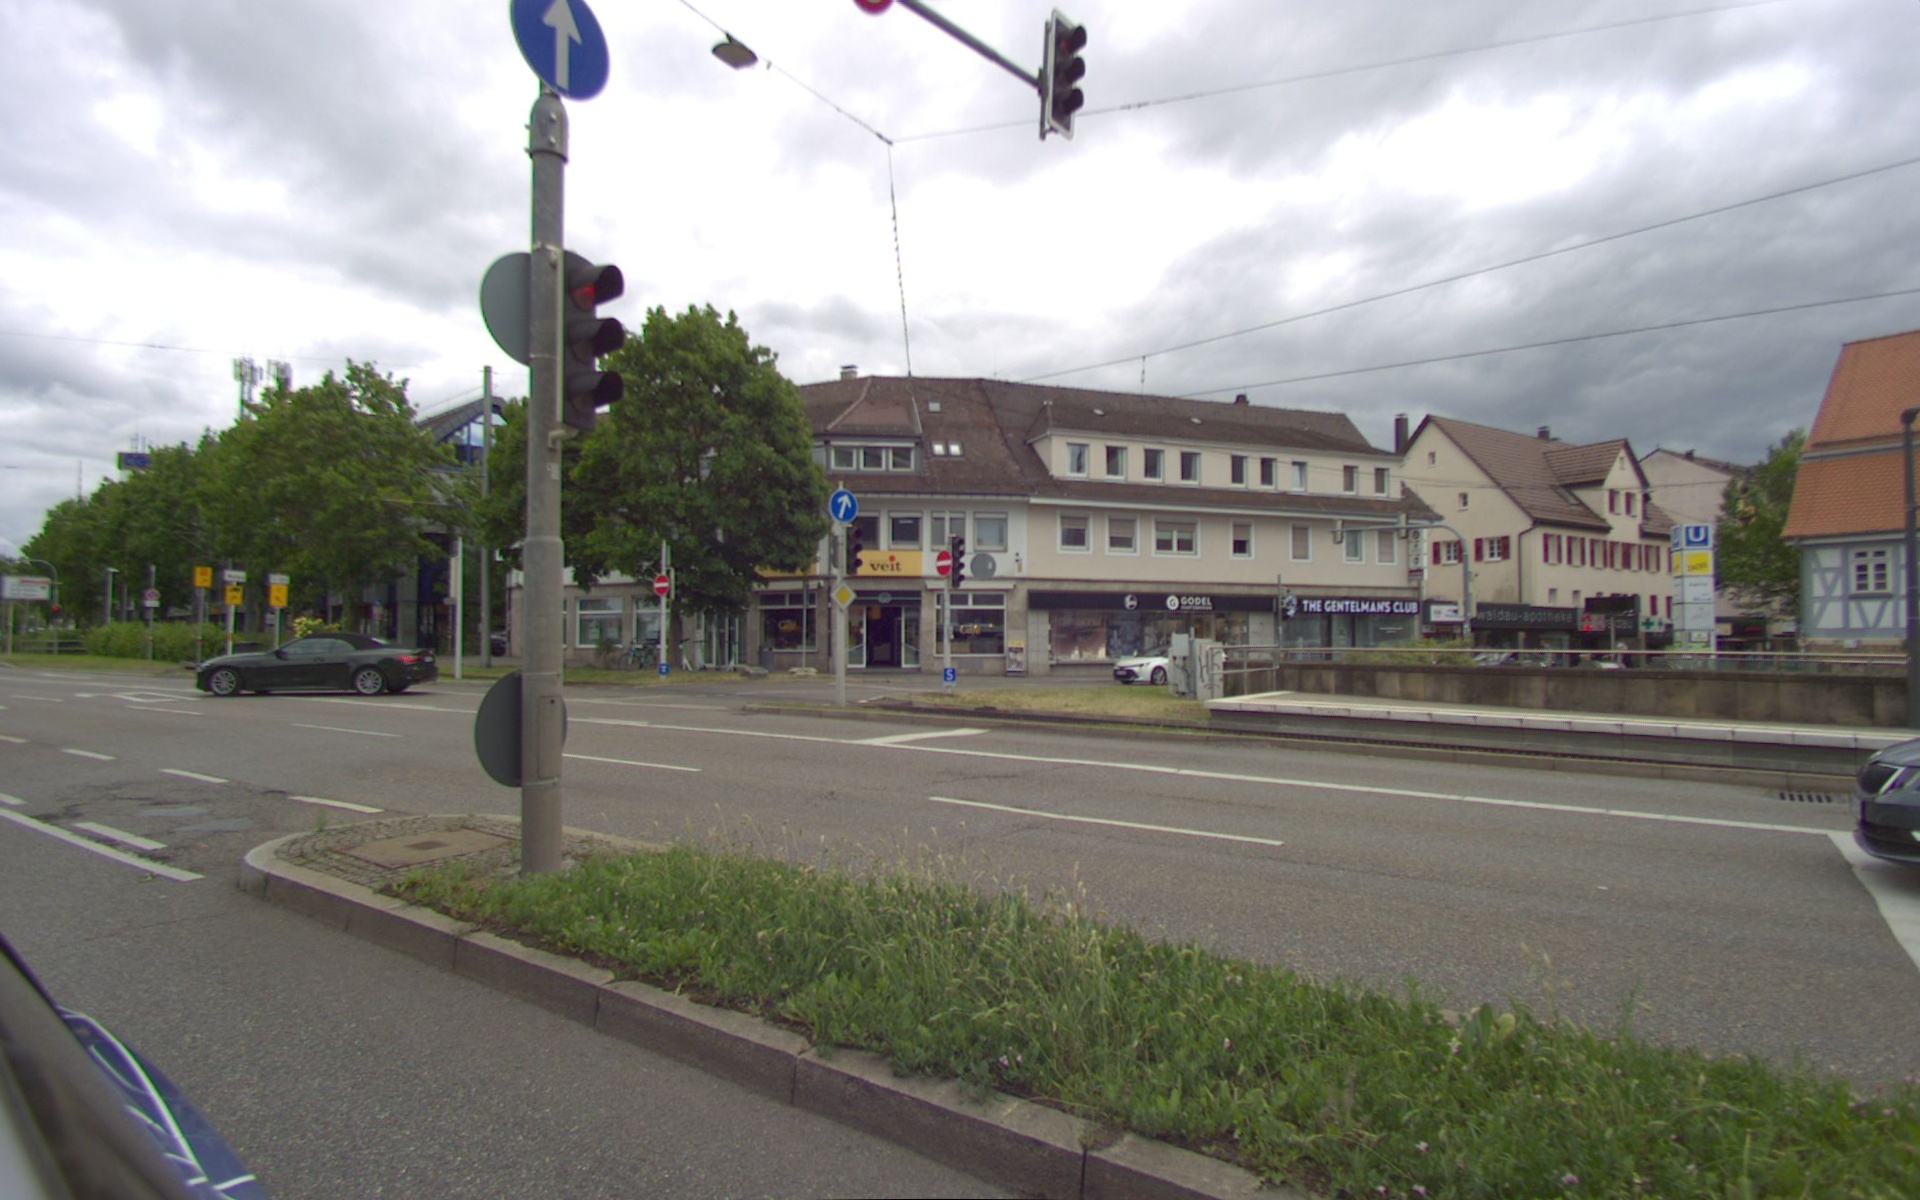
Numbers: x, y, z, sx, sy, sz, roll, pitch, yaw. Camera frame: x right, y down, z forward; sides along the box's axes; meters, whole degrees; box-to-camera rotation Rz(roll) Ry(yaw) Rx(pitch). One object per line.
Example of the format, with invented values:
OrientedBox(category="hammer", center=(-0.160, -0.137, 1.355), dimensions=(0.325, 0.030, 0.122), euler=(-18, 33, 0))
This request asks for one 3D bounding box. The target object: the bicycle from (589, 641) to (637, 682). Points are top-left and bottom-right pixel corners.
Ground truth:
OrientedBox(category="bicycle", center=(-11.251, 1.994, 32.895), dimensions=(0.621, 1.263, 1.675), euler=(0, -2, 15))

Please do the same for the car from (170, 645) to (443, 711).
OrientedBox(category="car", center=(-14.472, 1.698, 22.735), dimensions=(4.730, 1.367, 2.005), euler=(0, -2, -12))

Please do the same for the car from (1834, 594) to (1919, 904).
OrientedBox(category="car", center=(7.101, 0.727, 4.503), dimensions=(4.635, 1.524, 1.976), euler=(-1, -3, 36))

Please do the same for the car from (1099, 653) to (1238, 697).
OrientedBox(category="car", center=(7.328, 2.569, 35.400), dimensions=(4.729, 1.367, 2.005), euler=(1, -3, -34))
